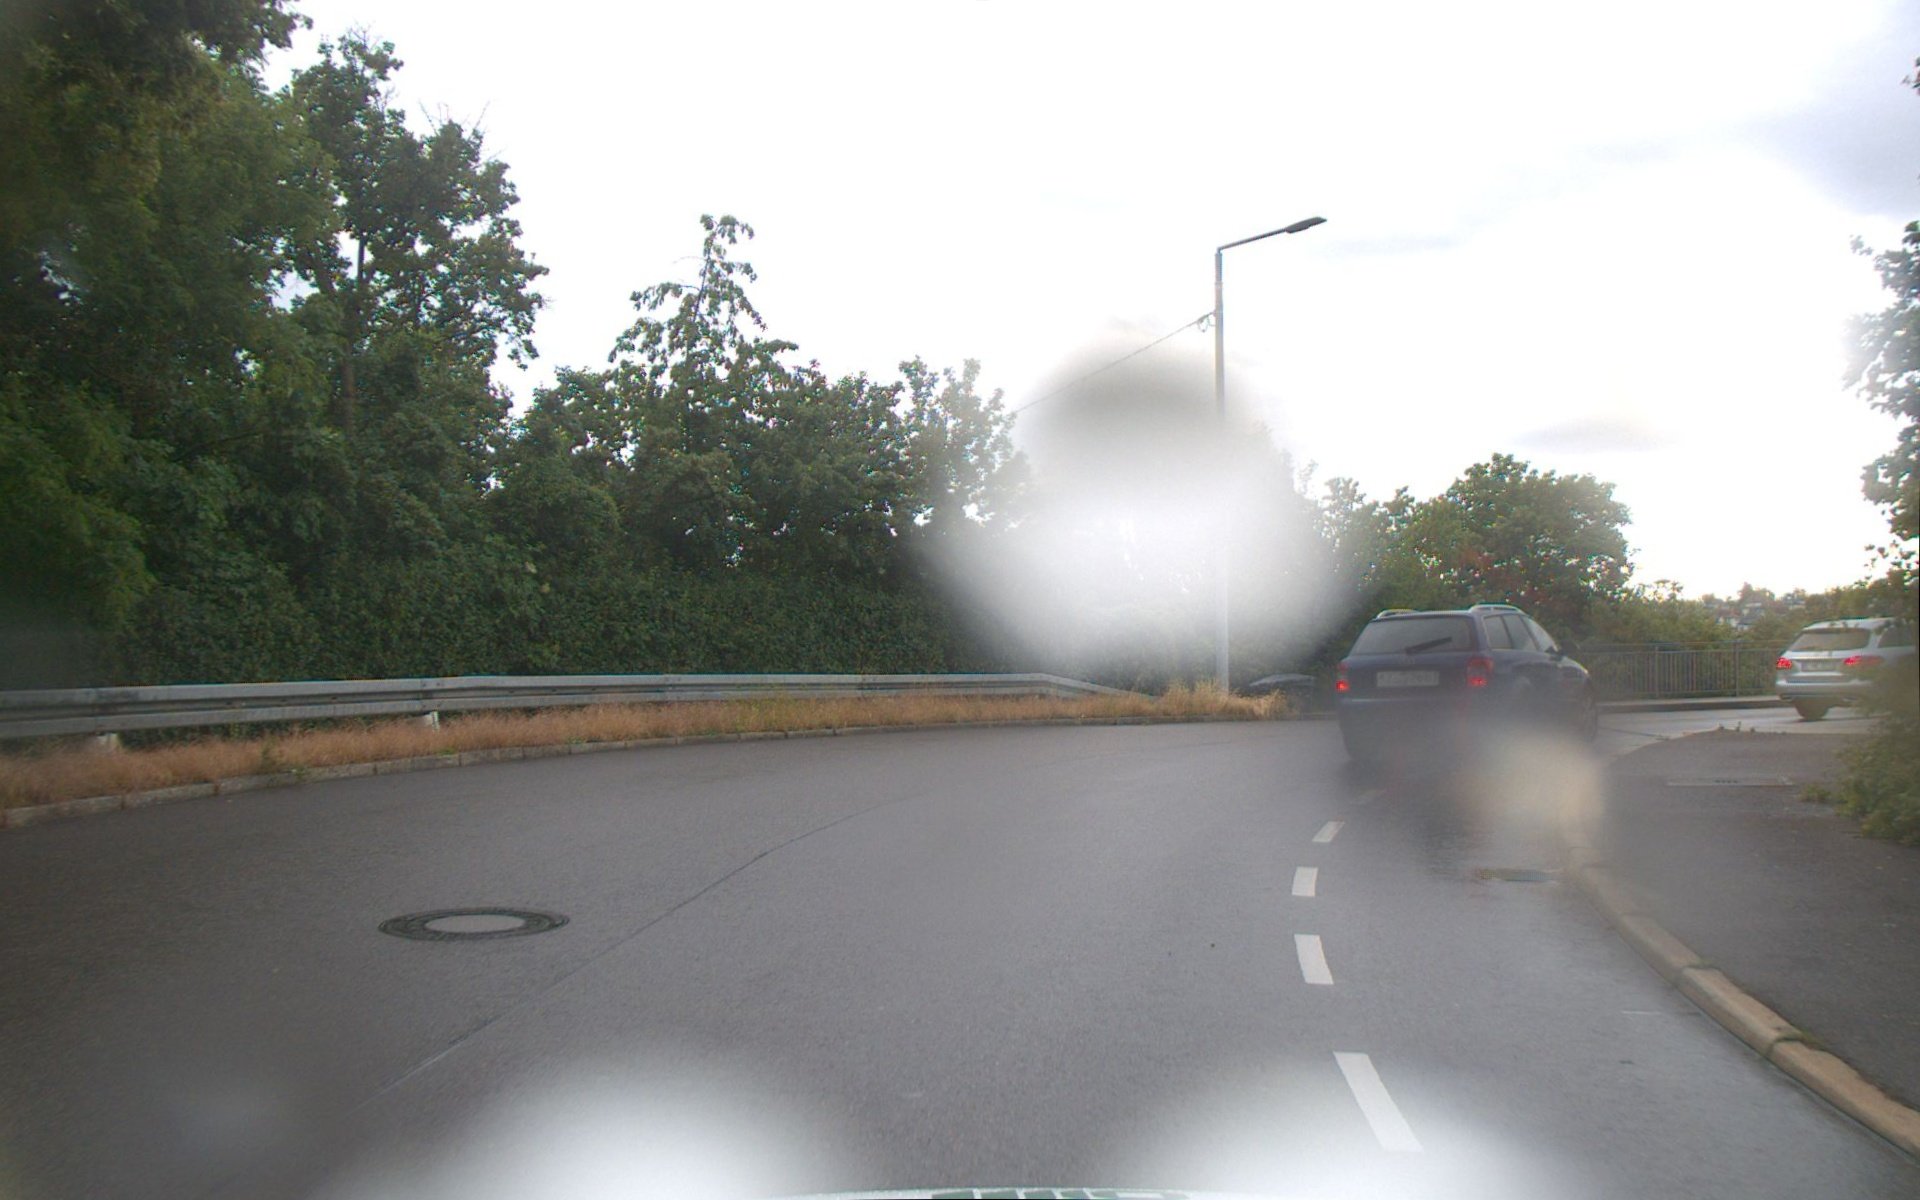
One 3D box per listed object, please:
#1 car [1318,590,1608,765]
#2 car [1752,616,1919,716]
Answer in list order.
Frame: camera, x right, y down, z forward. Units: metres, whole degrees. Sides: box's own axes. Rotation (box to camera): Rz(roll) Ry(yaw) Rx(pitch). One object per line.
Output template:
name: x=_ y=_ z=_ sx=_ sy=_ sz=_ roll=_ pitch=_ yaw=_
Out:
car: x=5.162 y=0.684 z=16.638 sx=1.716 sy=1.432 sz=3.989 roll=-1 pitch=1 yaw=33
car: x=14.080 y=0.955 z=25.343 sx=3.955 sy=1.413 sz=1.873 roll=0 pitch=-1 yaw=-36
